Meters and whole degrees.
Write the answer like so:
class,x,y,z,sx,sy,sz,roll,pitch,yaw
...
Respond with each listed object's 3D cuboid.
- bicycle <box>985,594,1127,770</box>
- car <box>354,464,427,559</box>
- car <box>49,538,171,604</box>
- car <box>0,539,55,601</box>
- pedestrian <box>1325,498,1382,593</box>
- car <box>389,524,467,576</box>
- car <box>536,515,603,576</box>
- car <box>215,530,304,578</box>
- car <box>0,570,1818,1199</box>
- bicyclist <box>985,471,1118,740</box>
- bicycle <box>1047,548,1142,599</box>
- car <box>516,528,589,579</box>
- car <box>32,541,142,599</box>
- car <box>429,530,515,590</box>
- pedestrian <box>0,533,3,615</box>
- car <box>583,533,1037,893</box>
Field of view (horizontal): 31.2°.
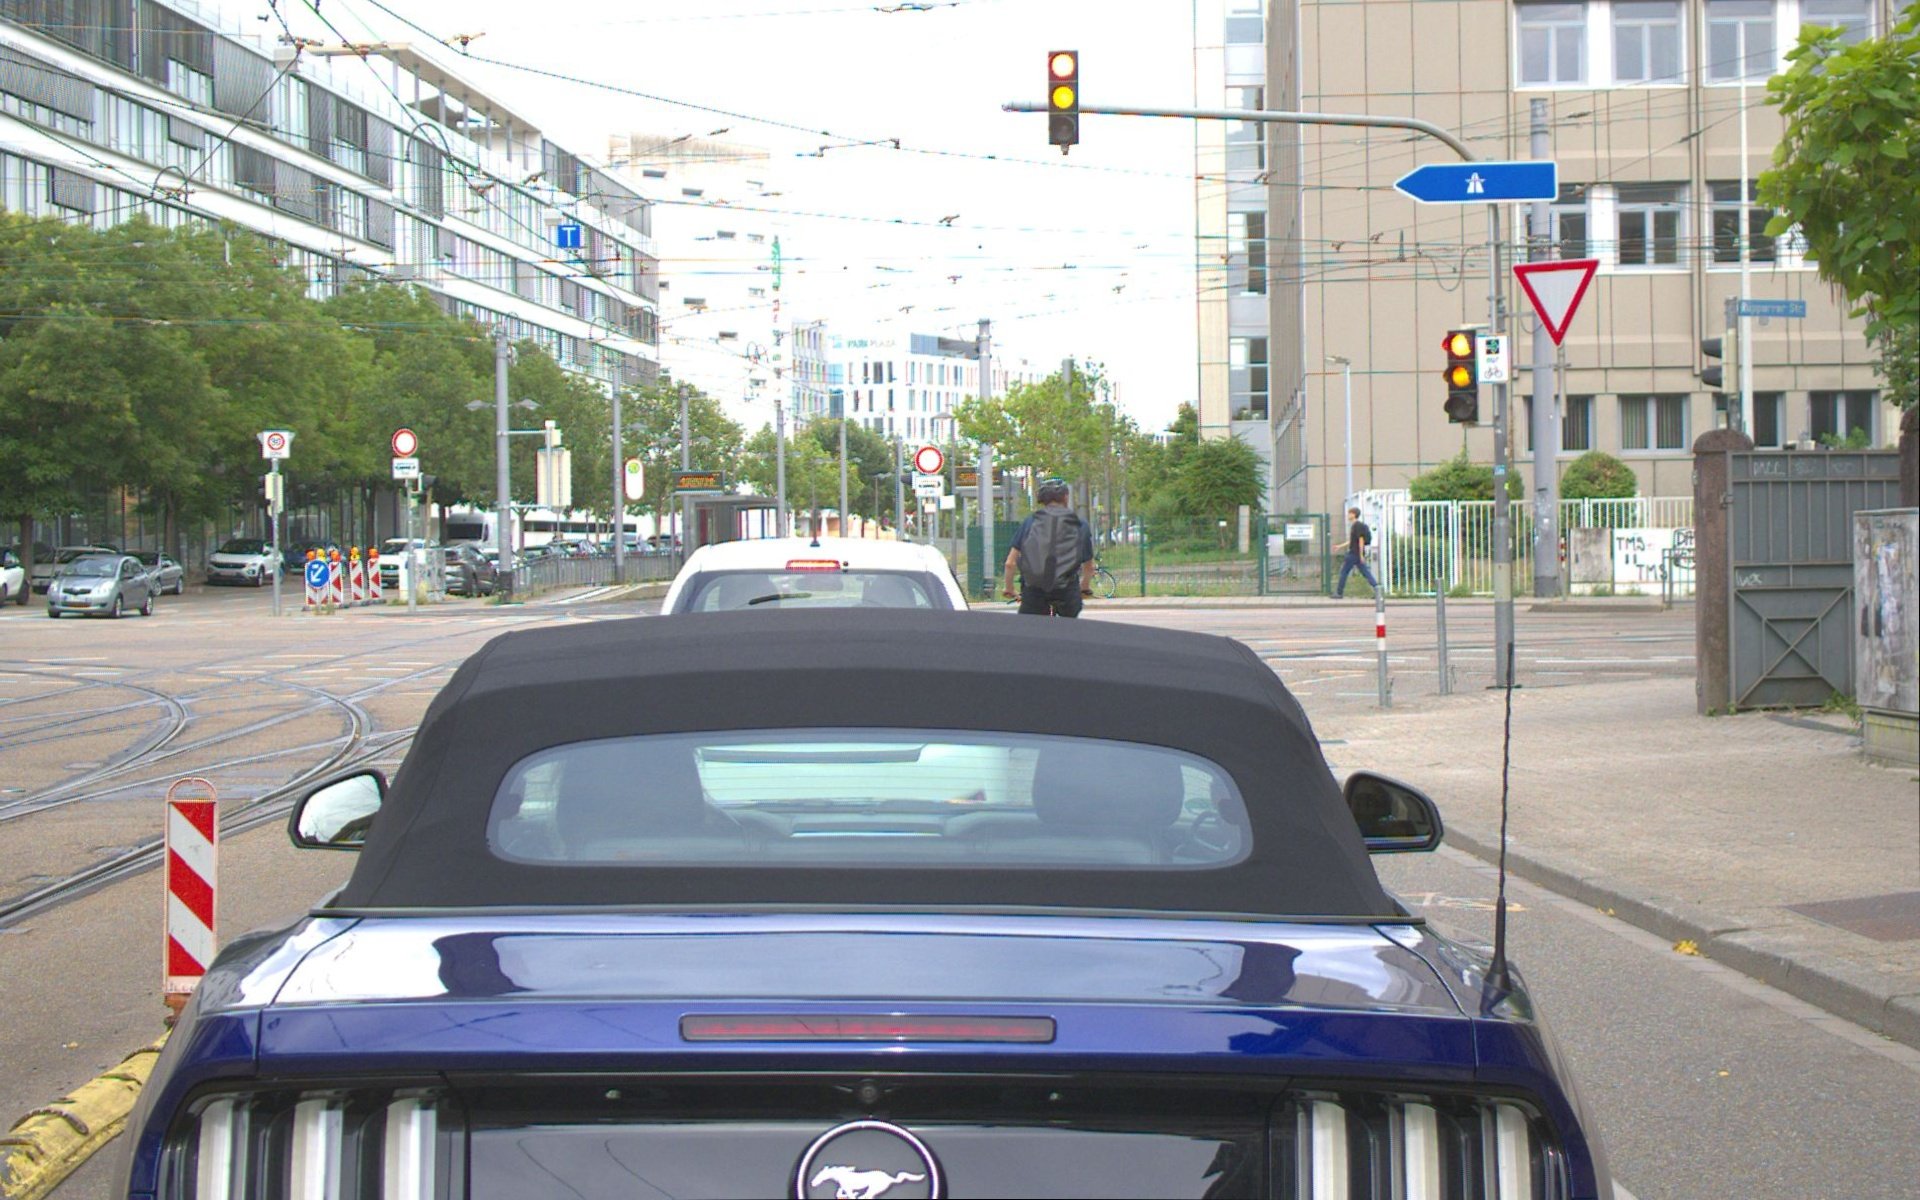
class,x,y,z,sx,sy,sz,roll,pitch,yaw
bicycle,0.630,0.527,23.301,0.800,1.082,2.132,-1,1,-2
car,-22.390,-3.475,135.341,1.986,3.624,4.512,1,1,1
car,-20.495,-0.727,83.031,1.668,1.501,4.234,1,1,3
car,-25.557,-0.827,91.040,1.830,1.551,4.216,1,1,3
pedestrian,7.936,-1.098,69.384,1.086,1.891,0.902,-1,1,5
car,-17.881,-1.696,115.637,1.715,1.654,4.133,1,1,3
car,-13.145,-1.858,115.954,1.785,1.980,4.121,-1,1,-1
car,-23.678,-1.576,116.351,1.986,1.551,4.512,1,1,1
car,-0.135,0.691,5.446,1.876,1.399,4.282,1,1,0
bicyclist,0.614,0.025,23.463,0.796,1.779,1.233,-1,1,-2
bicycle,2.834,-0.565,72.730,0.632,0.977,2.157,-2,-1,-42
car,-13.100,-1.520,110.791,1.868,1.600,4.213,-1,1,-1
car,-24.894,-0.883,98.165,1.830,1.551,4.216,1,1,3
car,-13.776,-1.141,97.259,1.879,1.623,4.087,-1,1,-1
pedestrian,-22.074,-0.570,76.899,0.989,1.849,0.901,-1,1,7
car,-0.779,0.419,16.153,1.835,1.434,4.188,-1,1,-5
